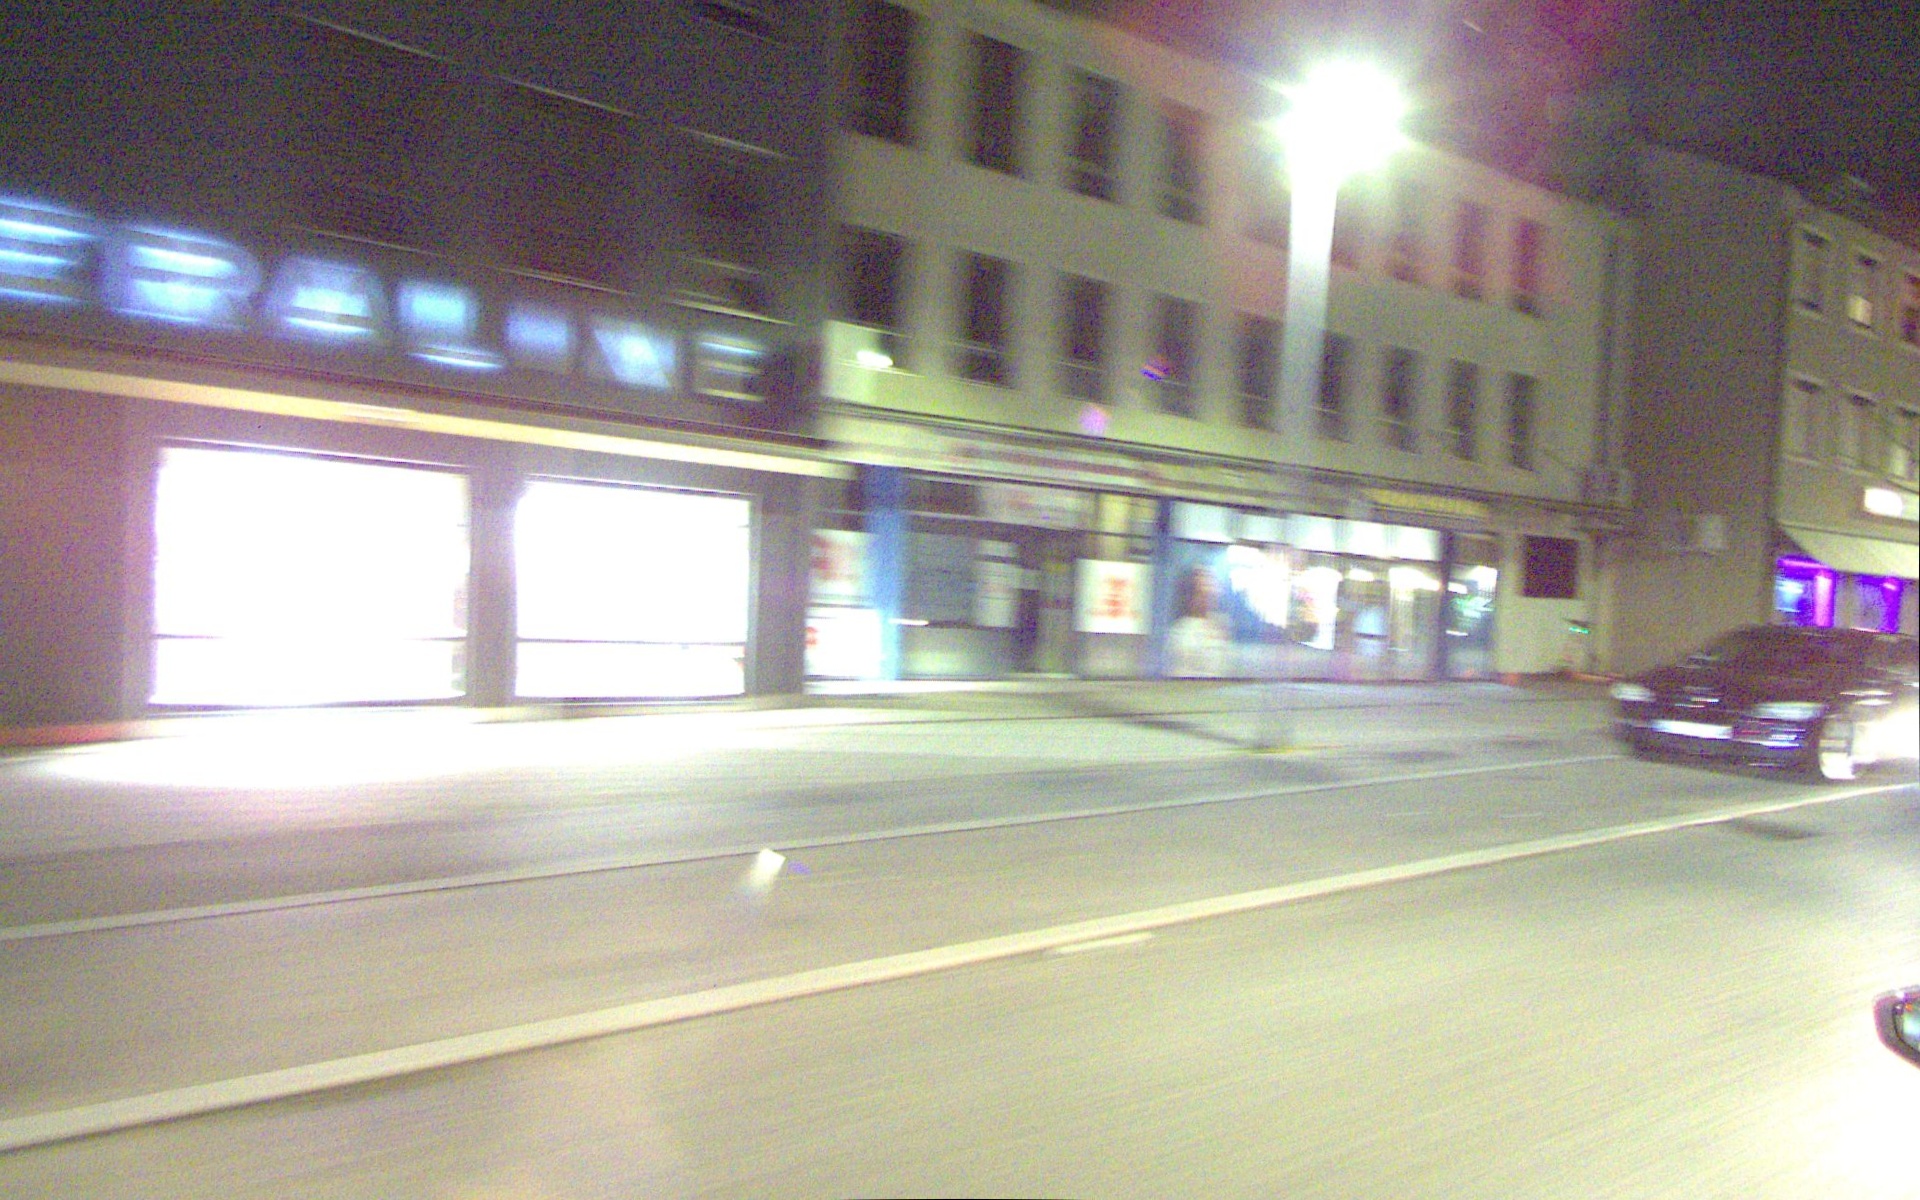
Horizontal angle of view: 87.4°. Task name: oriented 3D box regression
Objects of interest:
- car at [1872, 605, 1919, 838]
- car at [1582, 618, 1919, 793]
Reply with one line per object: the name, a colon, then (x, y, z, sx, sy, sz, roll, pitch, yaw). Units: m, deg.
car: (9.051, 0.928, 7.721, 4.255, 1.667, 1.740, 2, 0, -29)
car: (9.110, 1.009, 10.911, 4.872, 1.438, 1.887, 2, 2, -30)
